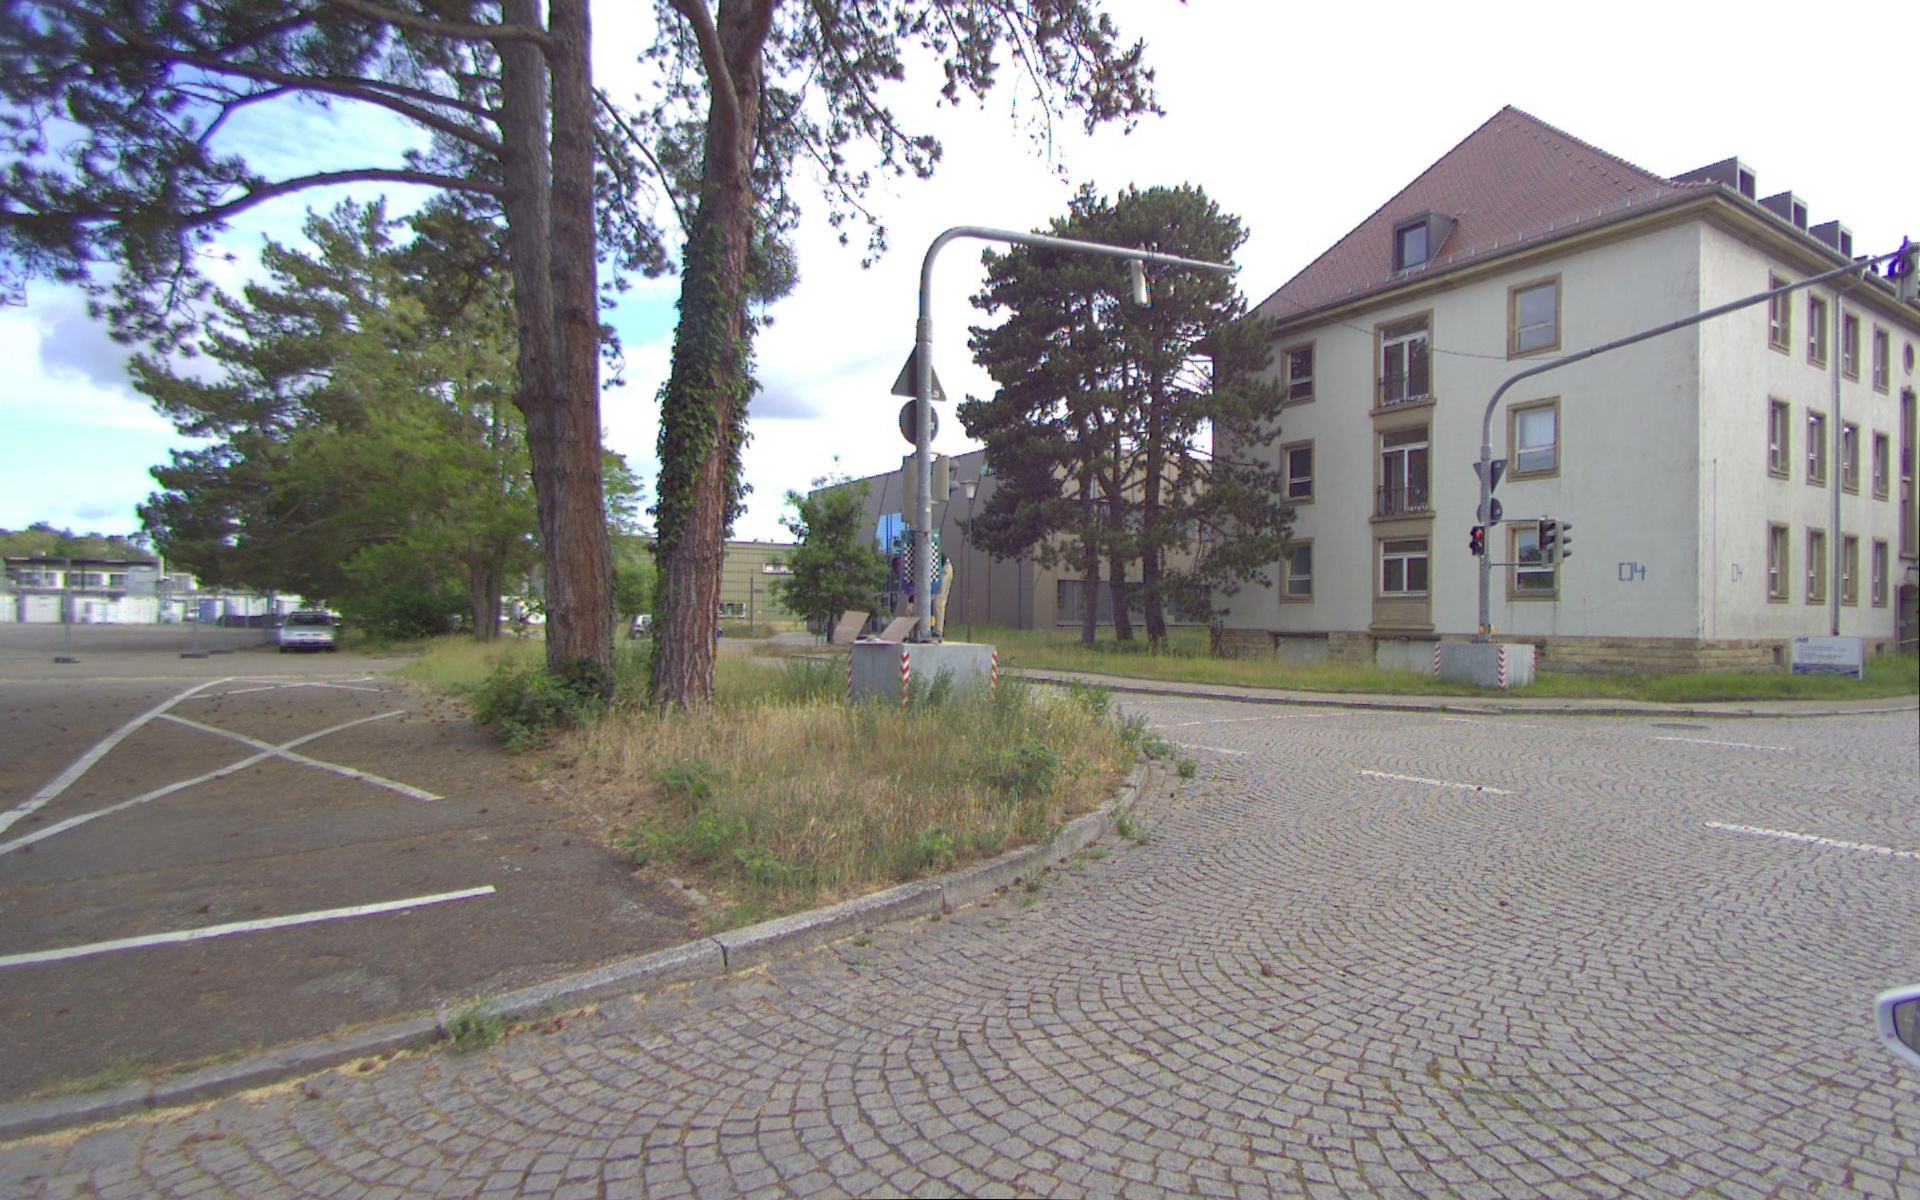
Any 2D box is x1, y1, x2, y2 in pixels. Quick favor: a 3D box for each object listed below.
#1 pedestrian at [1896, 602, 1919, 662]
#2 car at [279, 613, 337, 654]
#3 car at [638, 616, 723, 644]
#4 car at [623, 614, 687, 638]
[{"bbox_3d":[33.289,1.105,34.726,1.009,2.040,1.083,1,-1,-27],"label":"pedestrian"},{"bbox_3d":[-23.684,1.186,36.461,1.680,1.410,3.962,1,-1,-34],"label":"car"},{"bbox_3d":[-16.367,1.743,58.874,4.409,1.449,1.983,-1,0,-32],"label":"car"},{"bbox_3d":[-19.835,1.689,65.432,3.618,1.449,1.983,-1,0,-32],"label":"car"}]
